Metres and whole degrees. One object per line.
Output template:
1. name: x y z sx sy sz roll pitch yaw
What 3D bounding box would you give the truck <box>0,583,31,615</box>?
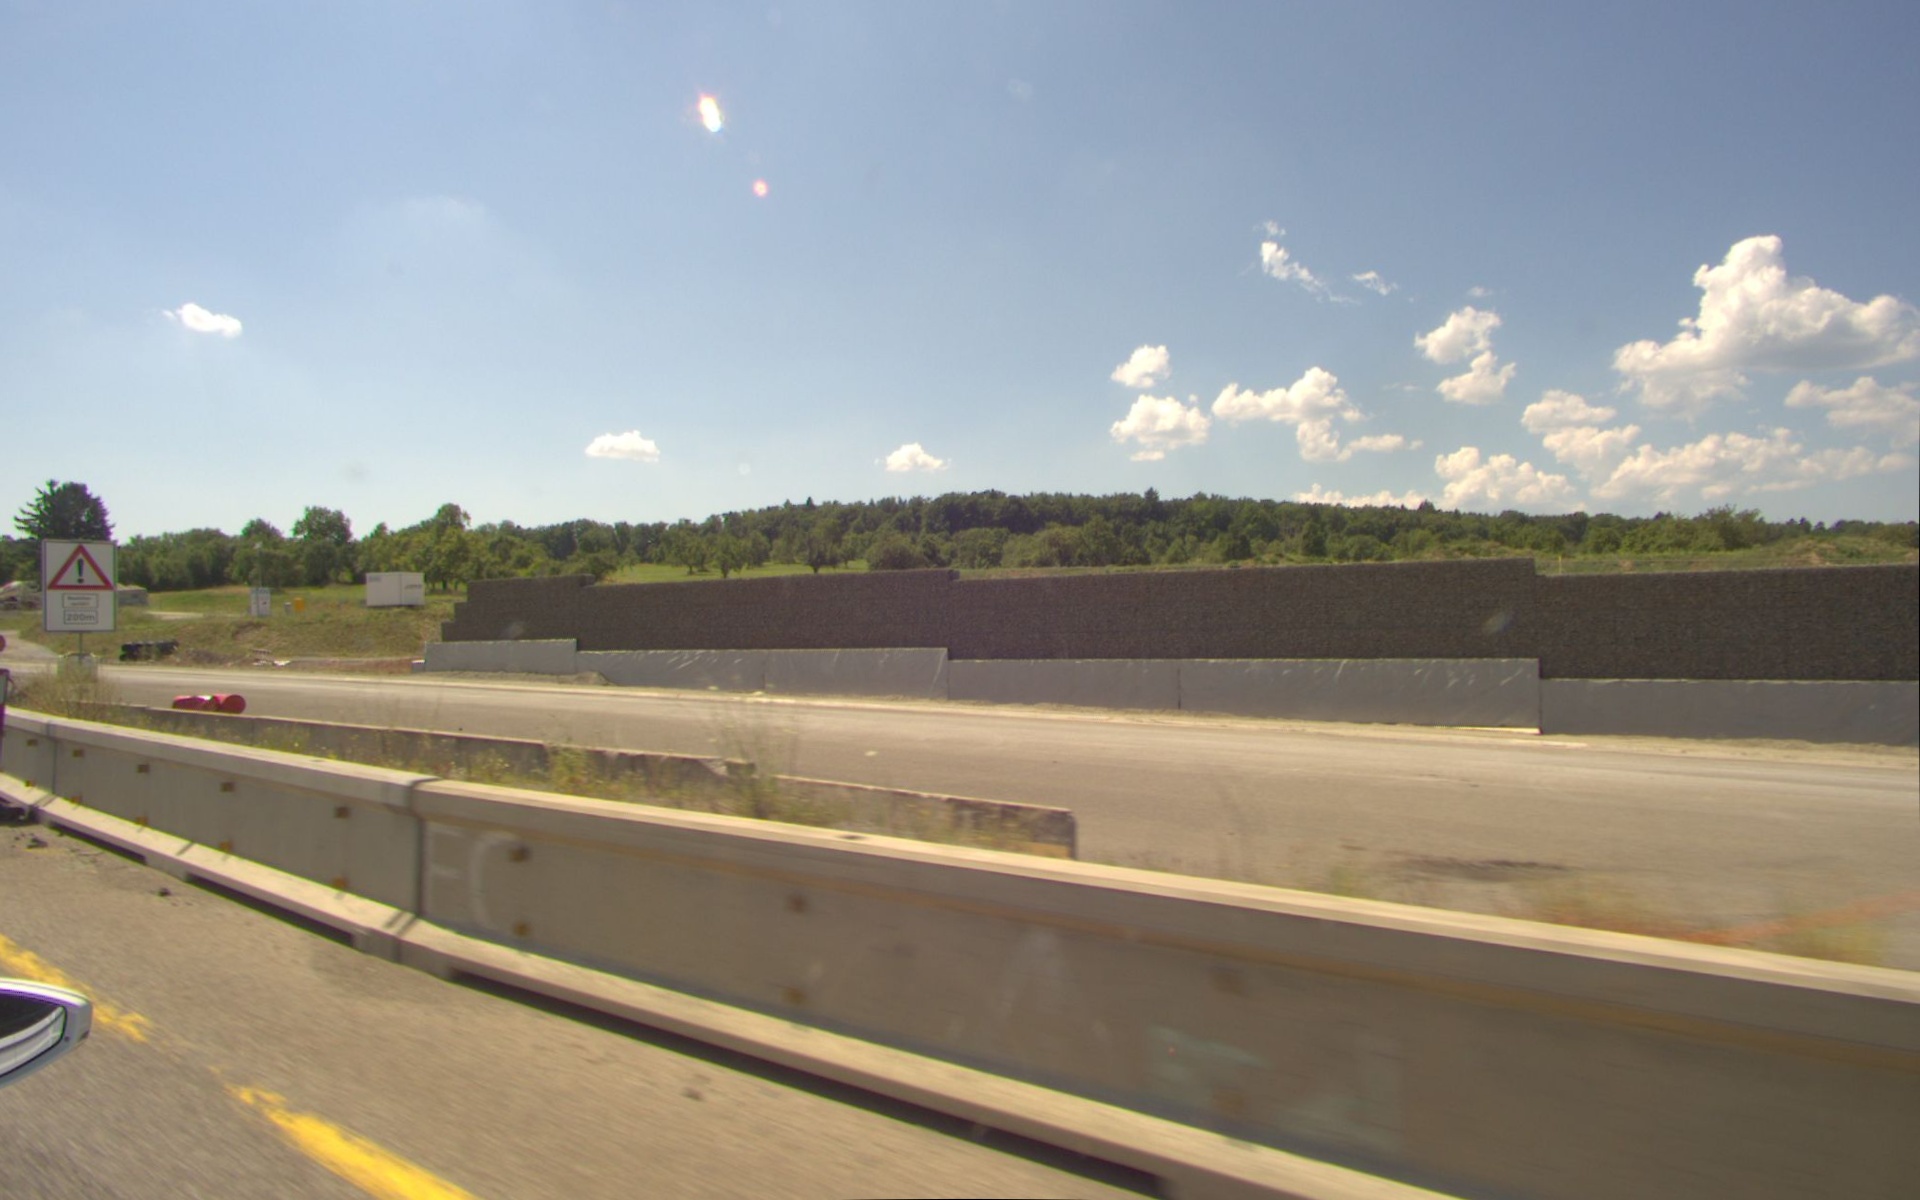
1. truck: -123.734 -0.107 130.154 4.027 4.149 2.750 0 -1 18

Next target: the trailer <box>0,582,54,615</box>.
1. trailer: -120.725 -0.134 129.152 6.625 4.168 2.761 0 -1 18
